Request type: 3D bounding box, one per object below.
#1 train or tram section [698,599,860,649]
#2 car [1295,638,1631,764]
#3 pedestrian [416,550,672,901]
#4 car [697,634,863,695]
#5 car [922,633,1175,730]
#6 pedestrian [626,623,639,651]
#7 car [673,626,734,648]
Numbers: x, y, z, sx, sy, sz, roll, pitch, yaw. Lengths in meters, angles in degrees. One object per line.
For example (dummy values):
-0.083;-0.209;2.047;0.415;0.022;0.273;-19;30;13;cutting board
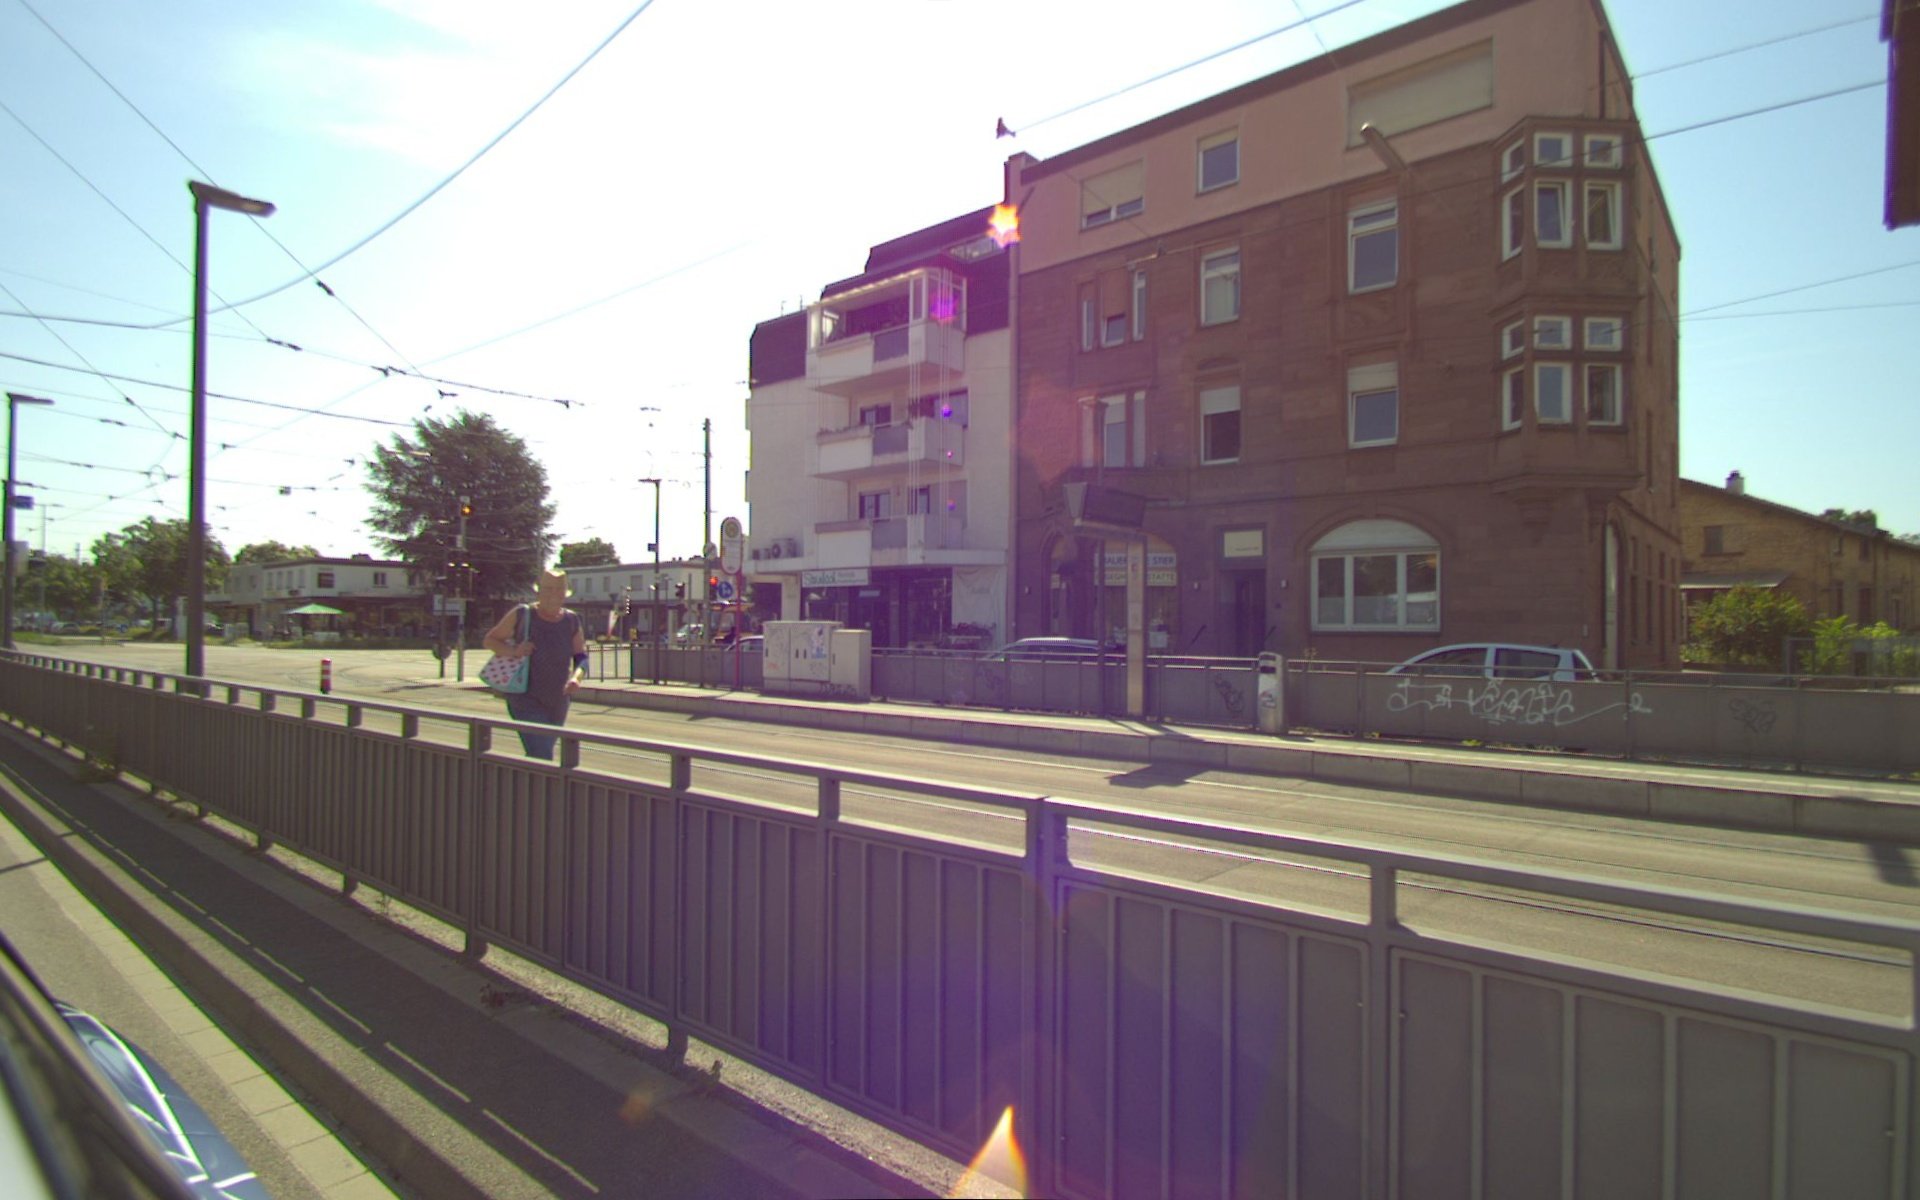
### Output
-13.349;1.863;76.448;2.688;3.507;13.149;-1;-2;43;train or tram section
6.832;1.282;13.973;3.863;1.480;1.609;-2;-2;41;car
-2.546;0.690;6.189;1.237;1.873;0.970;-1;-3;41;pedestrian
-4.352;1.480;24.174;4.076;1.253;1.694;-1;0;41;car
1.529;1.415;18.627;4.470;1.527;1.694;-2;-1;40;car
-22.612;2.553;69.933;0.602;1.918;0.604;0;-2;17;pedestrian
-20.814;2.983;82.341;2.000;1.763;4.403;-1;-3;43;car
